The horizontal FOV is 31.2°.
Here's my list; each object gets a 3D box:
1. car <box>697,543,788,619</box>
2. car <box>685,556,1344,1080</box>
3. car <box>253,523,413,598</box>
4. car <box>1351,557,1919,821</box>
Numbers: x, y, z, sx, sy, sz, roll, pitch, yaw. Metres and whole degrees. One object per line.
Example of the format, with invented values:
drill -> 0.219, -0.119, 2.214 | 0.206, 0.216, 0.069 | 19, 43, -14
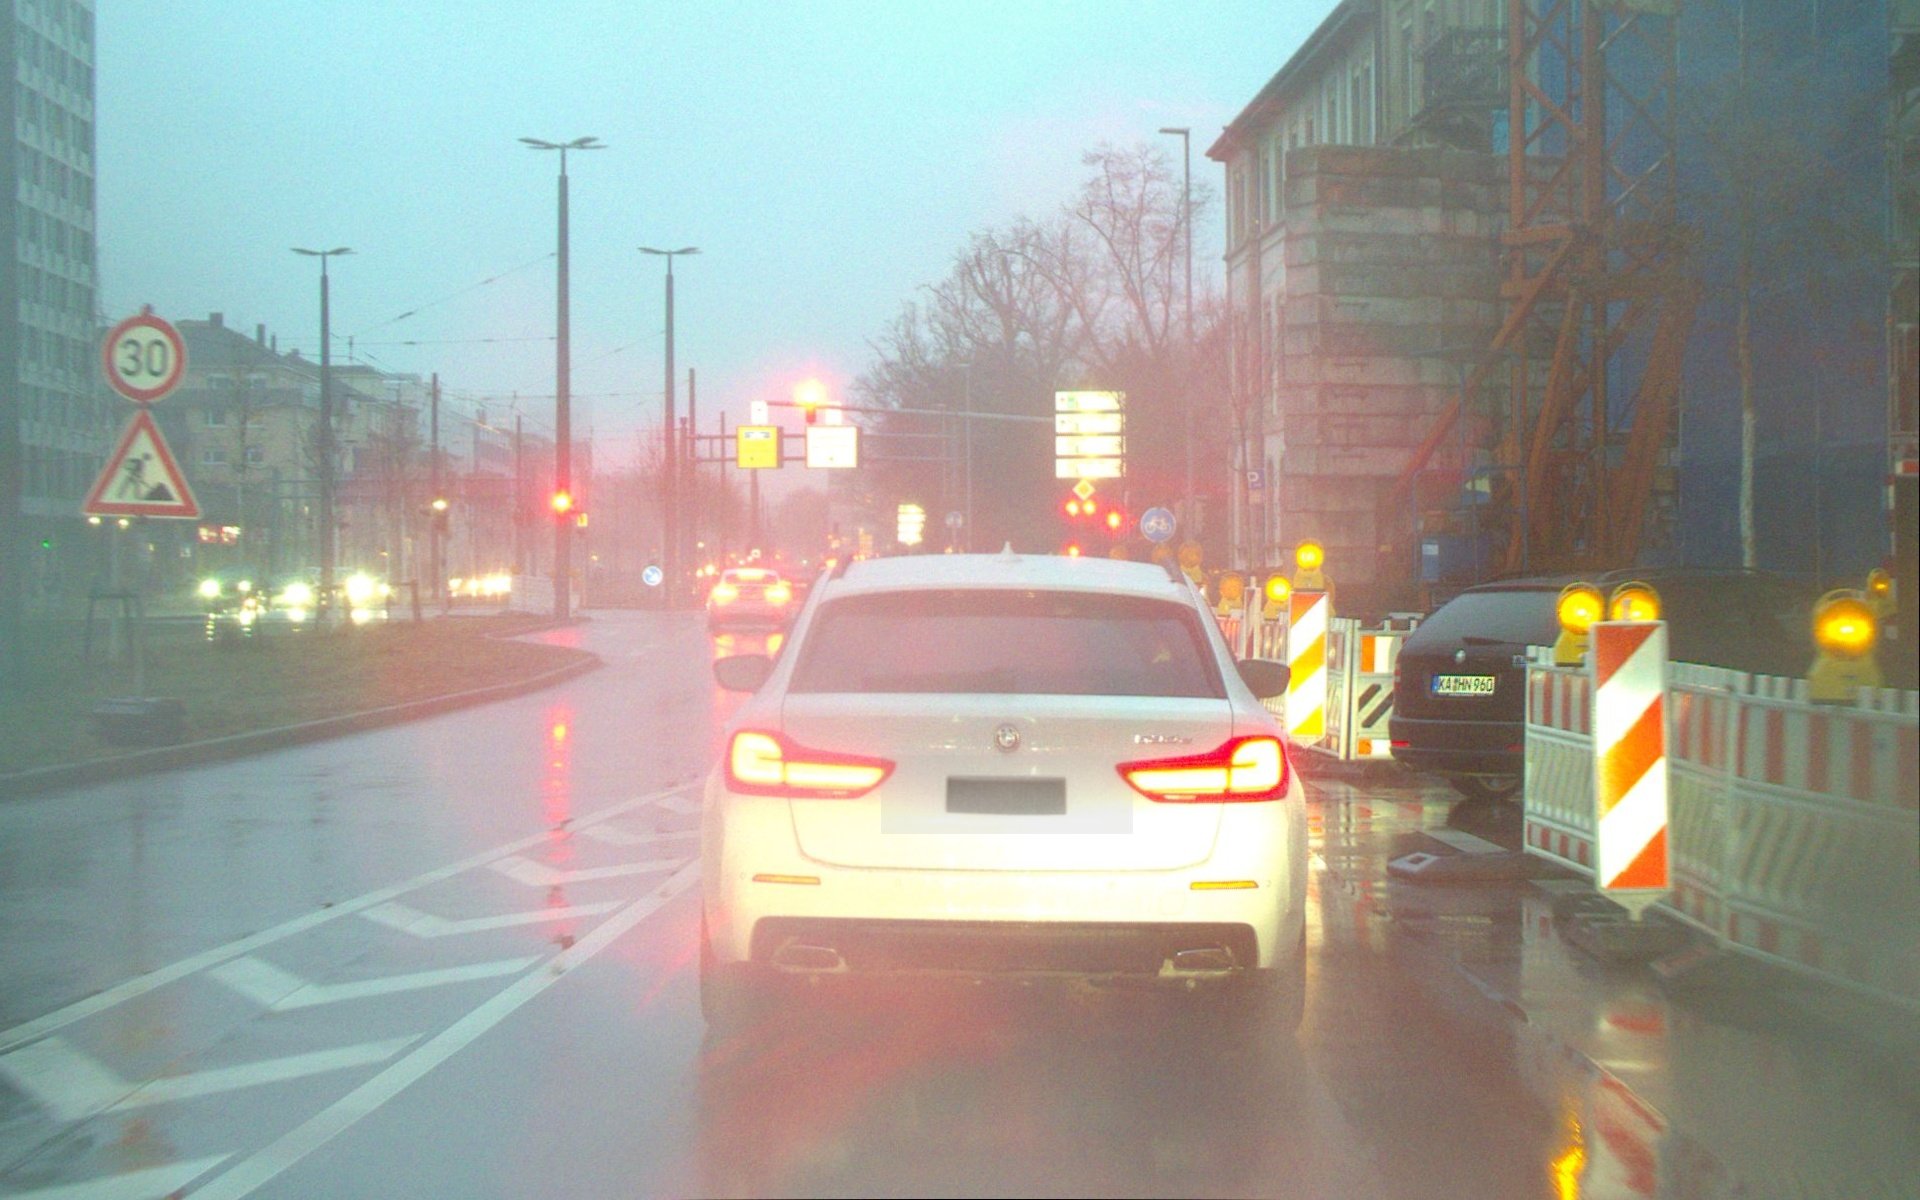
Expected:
car -> -4.859, -0.452, 77.253 | 1.901, 1.636, 4.000 | 1, 1, -2
car -> 0.034, 0.590, 12.220 | 1.852, 1.460, 4.947 | 1, 1, -3
car -> -17.138, -1.079, 93.872 | 3.986, 1.968, 2.001 | 1, 1, -21
car -> 4.649, 0.516, 21.969 | 4.082, 1.513, 1.907 | 0, 1, -38
